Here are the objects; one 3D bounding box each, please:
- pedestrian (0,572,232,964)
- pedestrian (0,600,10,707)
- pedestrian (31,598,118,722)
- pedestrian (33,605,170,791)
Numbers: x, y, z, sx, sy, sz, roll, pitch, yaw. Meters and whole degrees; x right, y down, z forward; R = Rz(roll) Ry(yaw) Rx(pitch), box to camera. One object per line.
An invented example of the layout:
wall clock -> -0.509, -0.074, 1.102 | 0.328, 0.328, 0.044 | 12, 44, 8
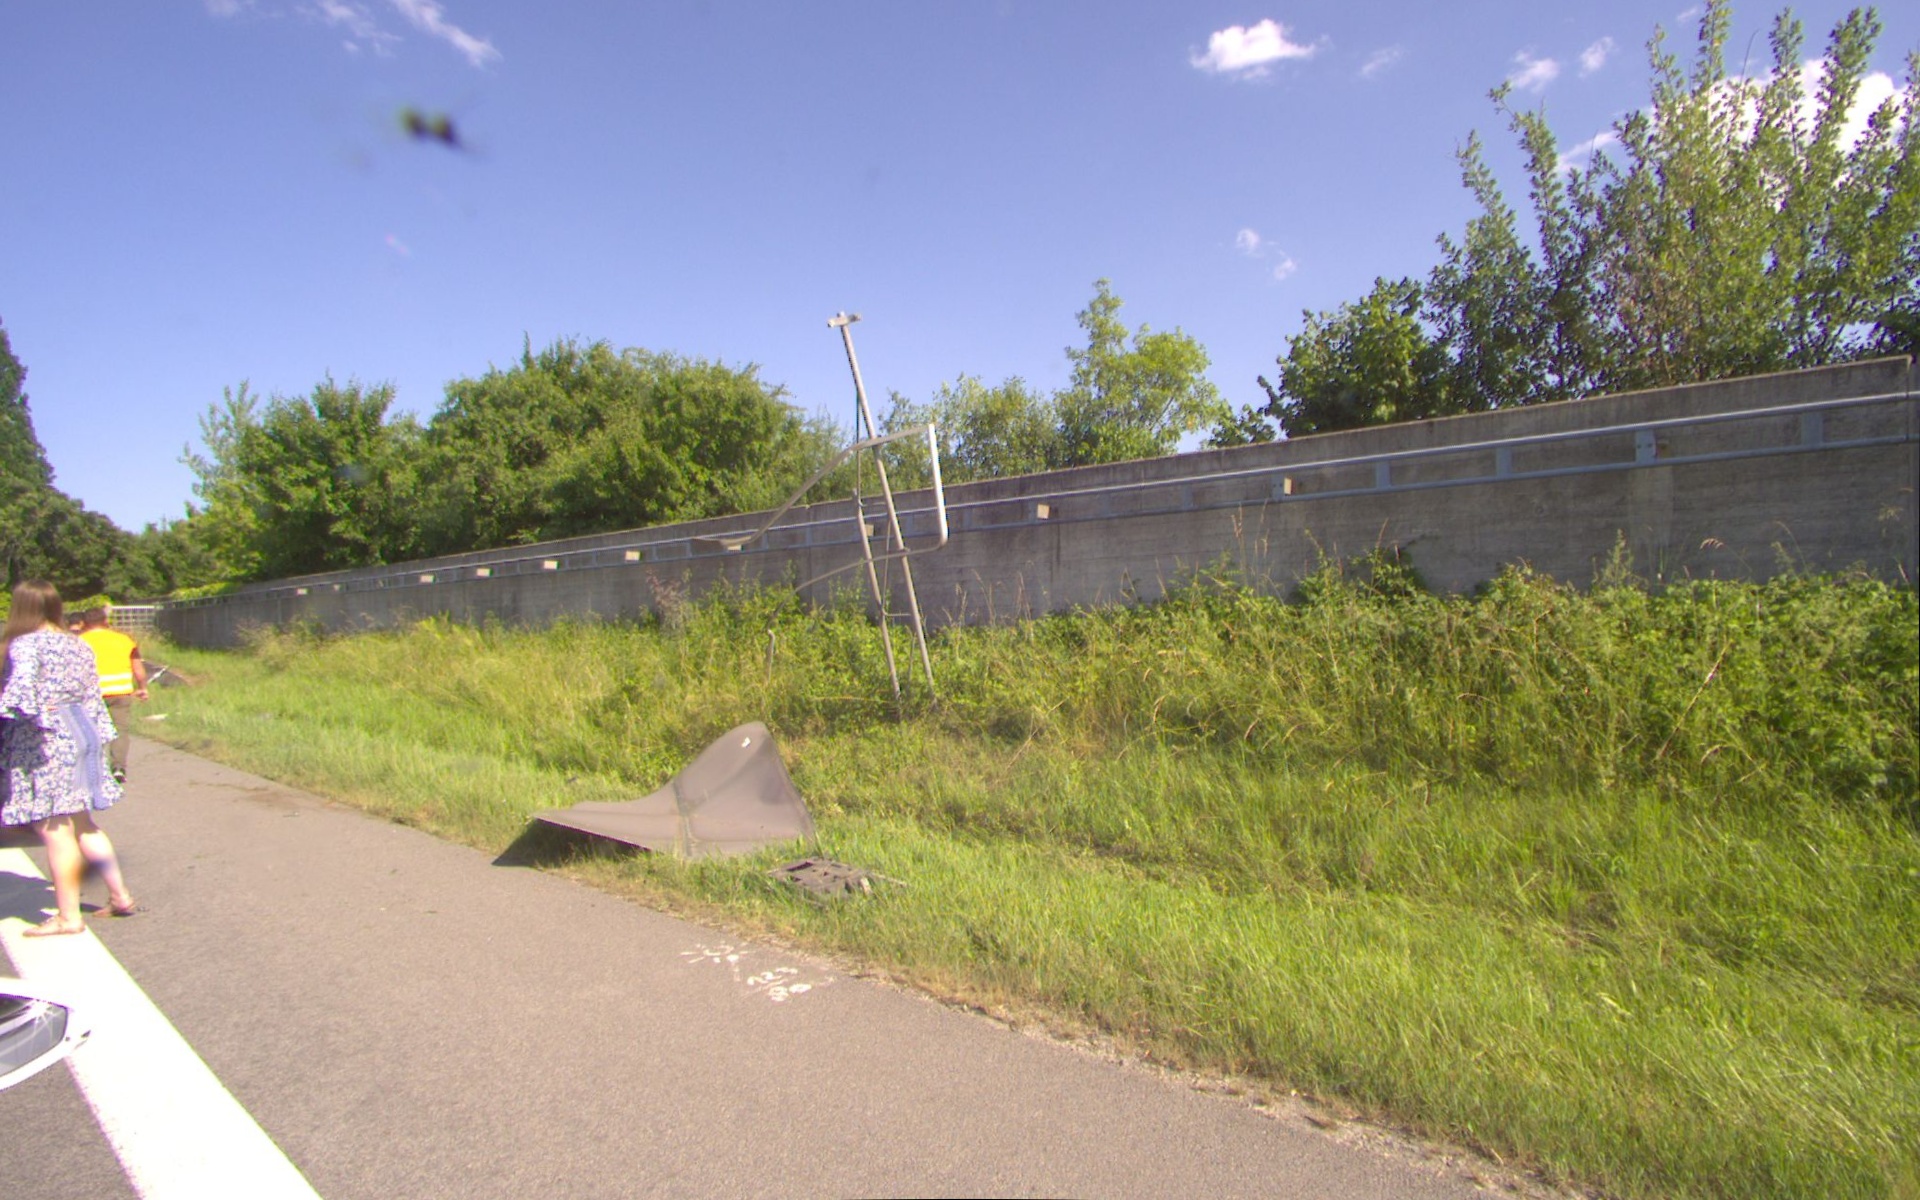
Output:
pedestrian -> -4.398, 0.745, 4.900 | 0.881, 1.718, 1.121 | -1, 0, 36
pedestrian -> -16.486, 0.890, 16.736 | 0.805, 1.782, 0.821 | 1, -2, -40
pedestrian -> -12.997, 0.866, 14.699 | 0.747, 1.747, 0.889 | -1, -2, 45
pedestrian -> -8.423, 0.899, 9.861 | 0.950, 1.675, 1.267 | -1, 0, -40
